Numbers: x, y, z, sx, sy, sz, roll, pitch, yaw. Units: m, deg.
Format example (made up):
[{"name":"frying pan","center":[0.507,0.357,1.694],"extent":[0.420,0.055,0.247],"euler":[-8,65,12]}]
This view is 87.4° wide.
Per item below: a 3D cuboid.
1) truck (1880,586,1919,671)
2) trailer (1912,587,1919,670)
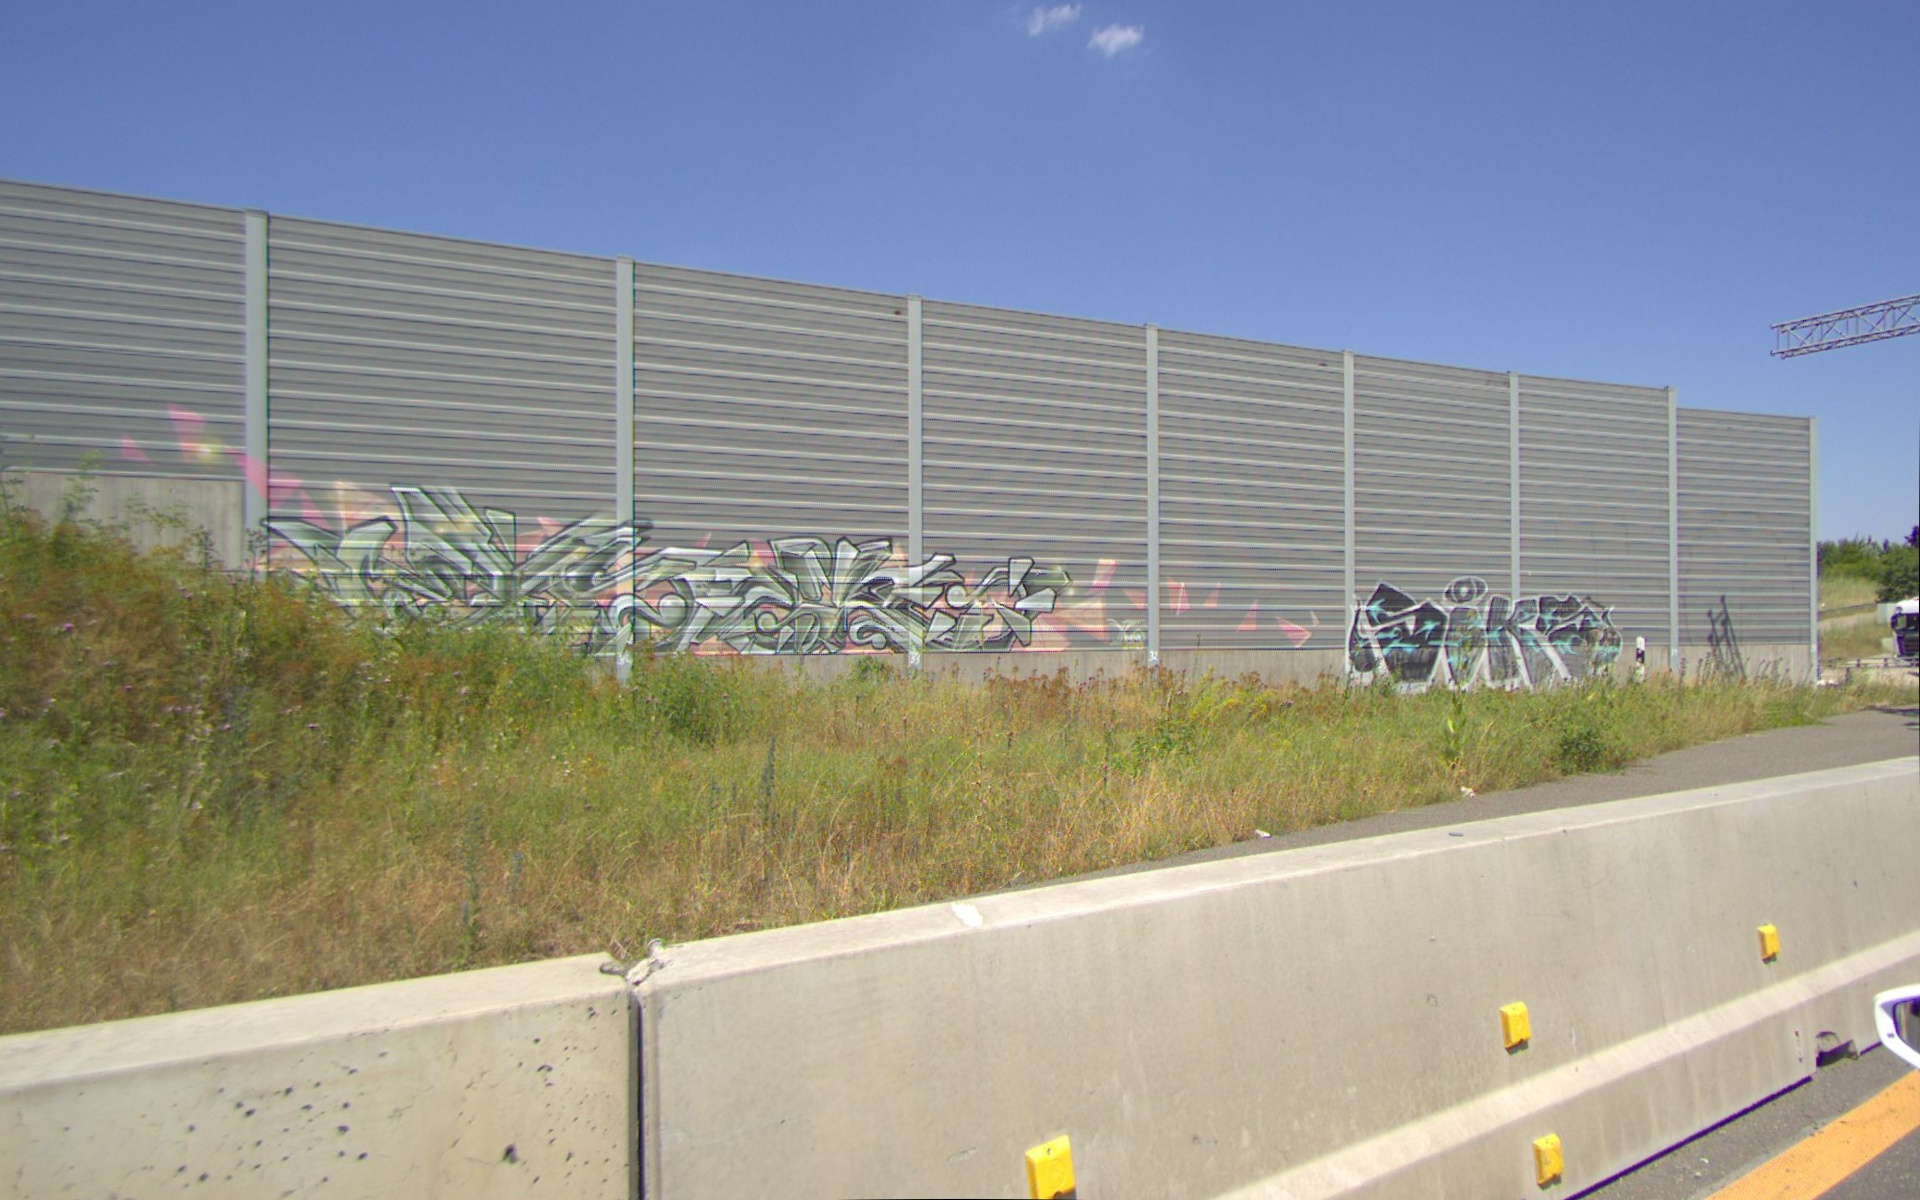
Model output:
[{"name":"truck","center":[53.336,1.559,54.605],"extent":[4.759,4.560,2.666],"euler":[1,0,-13]},{"name":"trailer","center":[60.444,1.693,56.267],"extent":[14.672,4.560,2.666],"euler":[1,0,-13]}]
